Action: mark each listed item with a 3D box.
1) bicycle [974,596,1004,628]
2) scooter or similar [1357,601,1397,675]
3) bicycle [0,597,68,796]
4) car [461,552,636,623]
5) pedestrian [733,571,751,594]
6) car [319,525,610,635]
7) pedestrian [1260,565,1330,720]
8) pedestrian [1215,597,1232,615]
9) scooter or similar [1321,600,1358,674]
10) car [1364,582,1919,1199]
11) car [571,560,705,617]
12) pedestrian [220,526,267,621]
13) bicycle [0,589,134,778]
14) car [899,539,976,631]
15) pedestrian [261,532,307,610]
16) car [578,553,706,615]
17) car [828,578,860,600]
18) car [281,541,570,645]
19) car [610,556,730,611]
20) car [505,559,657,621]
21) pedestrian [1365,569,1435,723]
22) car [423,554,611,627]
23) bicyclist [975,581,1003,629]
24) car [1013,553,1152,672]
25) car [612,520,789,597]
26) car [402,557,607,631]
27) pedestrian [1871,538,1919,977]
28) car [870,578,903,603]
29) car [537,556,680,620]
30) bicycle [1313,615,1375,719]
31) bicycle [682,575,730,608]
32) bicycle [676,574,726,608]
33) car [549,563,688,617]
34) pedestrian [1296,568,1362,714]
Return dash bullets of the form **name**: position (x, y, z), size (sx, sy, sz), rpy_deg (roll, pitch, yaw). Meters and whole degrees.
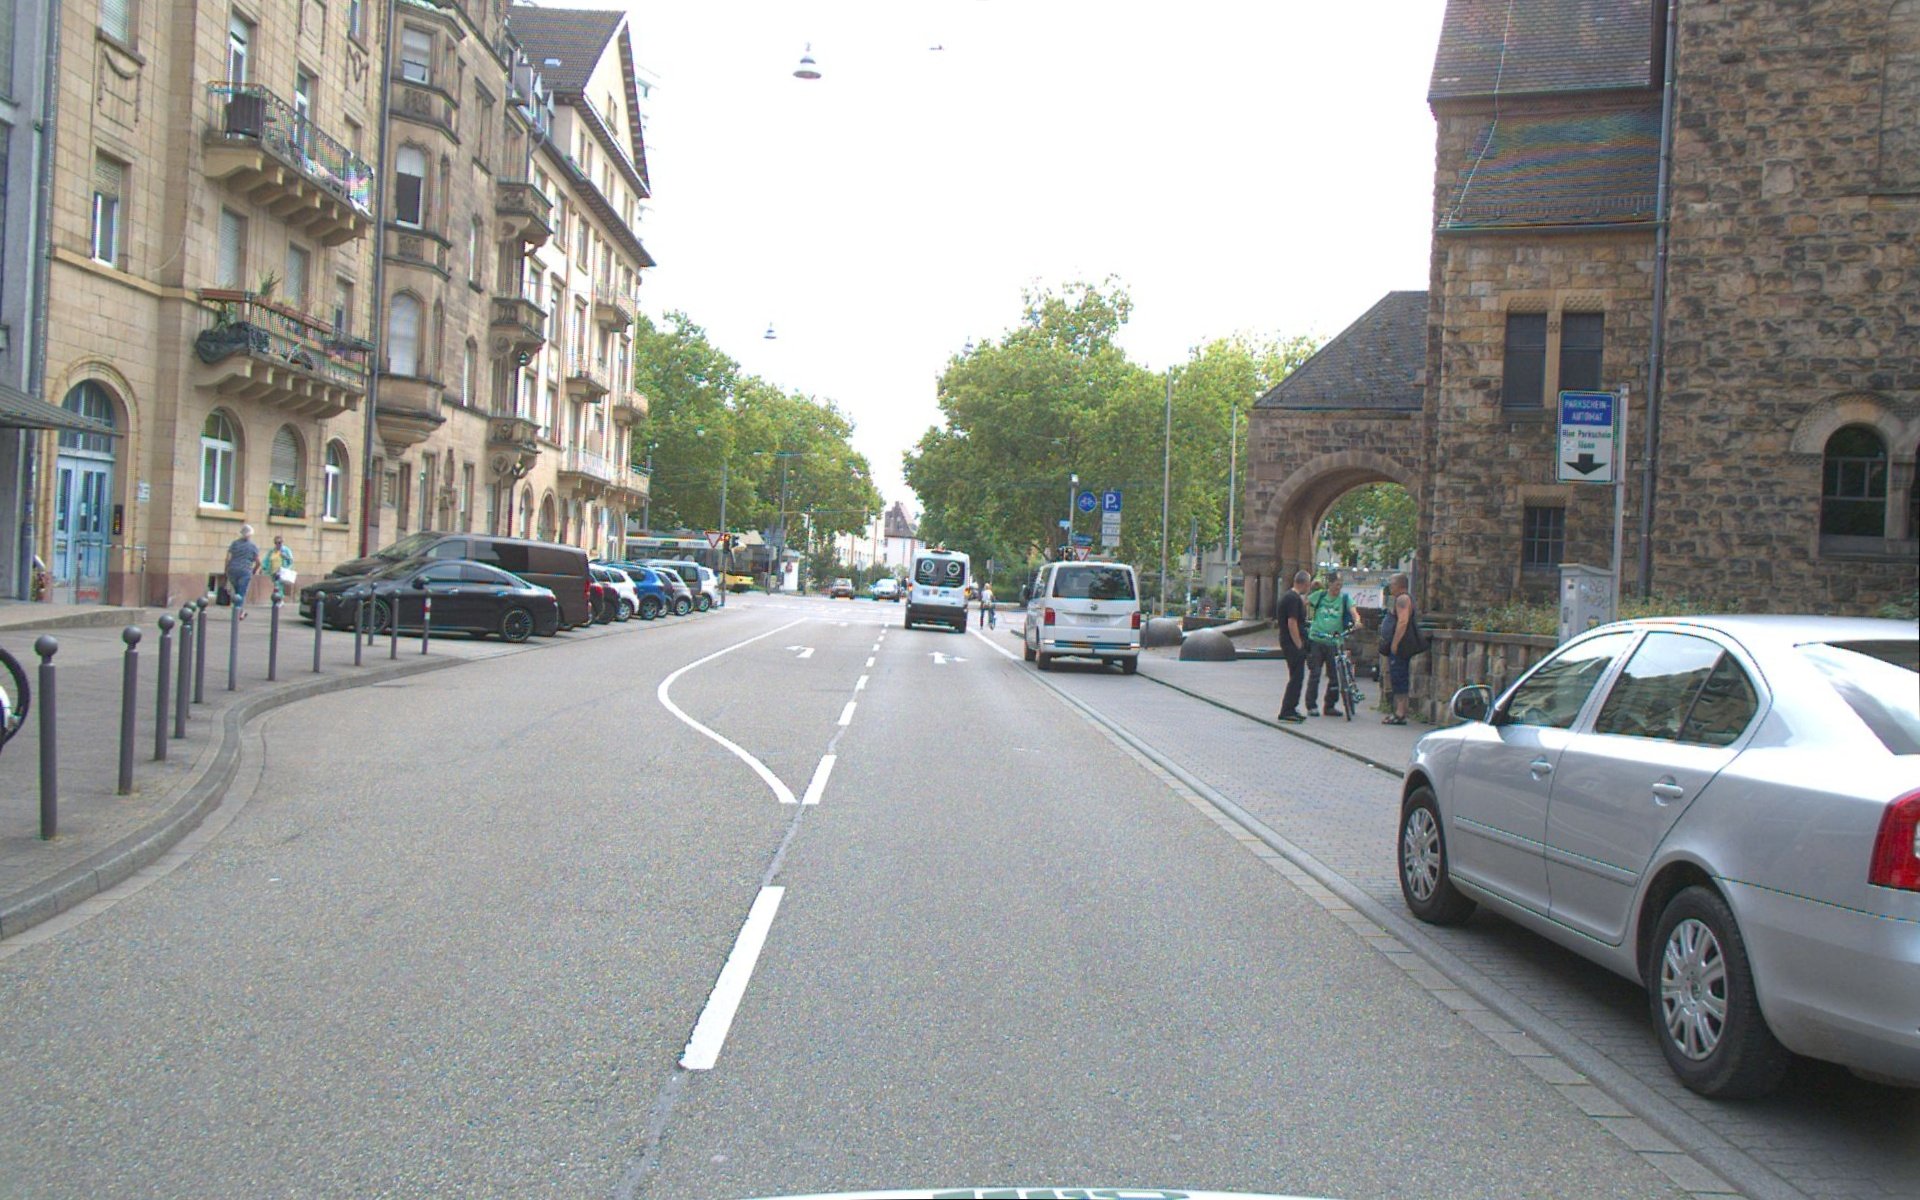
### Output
- **bicycle**: position (1.048, 0.425, 61.111), size (0.885, 1.093, 1.968), rpy_deg (3, 1, -4)
- **scooter or similar**: position (7.237, 0.642, 28.660), size (0.533, 1.228, 1.481), rpy_deg (2, 1, 18)
- **bicycle**: position (-5.844, 0.480, 9.275), size (1.378, 1.056, 0.402), rpy_deg (5, 0, 0)
- **car**: position (-10.540, -0.313, 42.455), size (3.964, 1.591, 1.776), rpy_deg (3, 1, -34)
- **pedestrian**: position (-14.594, -1.173, 110.880), size (0.910, 1.541, 0.724), rpy_deg (3, 0, 12)
- **car**: position (-9.991, -0.379, 33.560), size (5.213, 1.943, 2.095), rpy_deg (3, 1, -37)
- **pedestrian**: position (3.872, 0.483, 19.136), size (0.501, 1.749, 0.528), rpy_deg (3, 0, -24)
- **pedestrian**: position (19.012, 0.426, 119.426), size (1.068, 1.257, 1.441), rpy_deg (1, 0, 3)
- **scooter or similar**: position (6.627, 0.631, 28.933), size (0.532, 1.228, 1.444), rpy_deg (2, 1, 11)
- **car**: position (3.016, 0.733, 6.115), size (1.720, 1.494, 4.416), rpy_deg (2, 1, -3)
- **car**: position (-10.664, -0.368, 54.870), size (3.976, 1.680, 1.770), rpy_deg (2, 1, -41)
- **pedestrian**: position (-12.145, -0.444, 28.038), size (0.640, 1.572, 0.506), rpy_deg (3, 0, -21)
- **bicycle**: position (-5.908, 0.475, 10.165), size (1.378, 1.056, 0.402), rpy_deg (5, 0, 0)
- **car**: position (-0.778, -0.517, 53.819), size (2.139, 2.693, 4.626), rpy_deg (4, 1, -3)
- **pedestrian**: position (-13.419, -0.578, 32.837), size (0.647, 1.511, 0.509), rpy_deg (3, 0, -3)
- **car**: position (-11.046, -0.545, 57.496), size (3.976, 1.911, 1.770), rpy_deg (2, 1, -41)
- **car**: position (-8.286, -0.812, 118.105), size (1.587, 1.502, 4.003), rpy_deg (3, 1, 6)
- **car**: position (-9.739, -0.100, 30.365), size (4.629, 1.433, 1.873), rpy_deg (6, 0, -41)
- **car**: position (-10.650, -0.593, 60.964), size (3.976, 1.804, 1.770), rpy_deg (2, 1, -41)
- **car**: position (-10.384, -0.274, 45.413), size (3.648, 1.507, 1.719), rpy_deg (3, 1, -38)
- **pedestrian**: position (5.116, 0.527, 19.242), size (0.501, 1.749, 0.528), rpy_deg (3, 0, -23)
- **car**: position (-10.462, -0.219, 39.200), size (3.954, 1.529, 1.610), rpy_deg (3, 1, -37)
- **bicyclist**: position (1.064, 0.185, 61.145), size (0.886, 1.712, 0.756), rpy_deg (3, 0, -5)
- **car**: position (2.260, 0.160, 31.927), size (1.974, 2.064, 5.121), rpy_deg (2, 1, -3)
- **car**: position (-15.193, -2.447, 96.731), size (9.687, 3.983, 3.454), rpy_deg (3, 1, 23)
- **car**: position (-10.011, -0.110, 36.491), size (3.980, 1.433, 1.769), rpy_deg (2, 1, -43)
- **pedestrian**: position (4.115, 0.640, 6.778), size (0.458, 1.765, 0.410), rpy_deg (2, 0, -3)
- **car**: position (-5.202, -0.694, 117.212), size (1.696, 1.619, 4.003), rpy_deg (3, 1, 6)
- **car**: position (-10.374, -0.354, 48.876), size (3.740, 1.680, 1.701), rpy_deg (2, 1, -39)
- **bicycle**: position (4.684, 0.790, 20.132), size (0.521, 1.170, 1.754), rpy_deg (3, 0, 18)
- **bicycle**: position (-10.498, -0.358, 68.310), size (1.837, 1.187, 0.498), rpy_deg (5, 0, 19)
- **bicycle**: position (-10.196, -0.355, 65.155), size (1.773, 1.139, 0.594), rpy_deg (6, 0, 2)
- **car**: position (-10.683, -0.299, 51.828), size (3.863, 1.468, 1.813), rpy_deg (3, 1, -38)
- **pedestrian**: position (4.527, 0.503, 20.303), size (0.523, 1.749, 0.505), rpy_deg (3, 0, -24)
